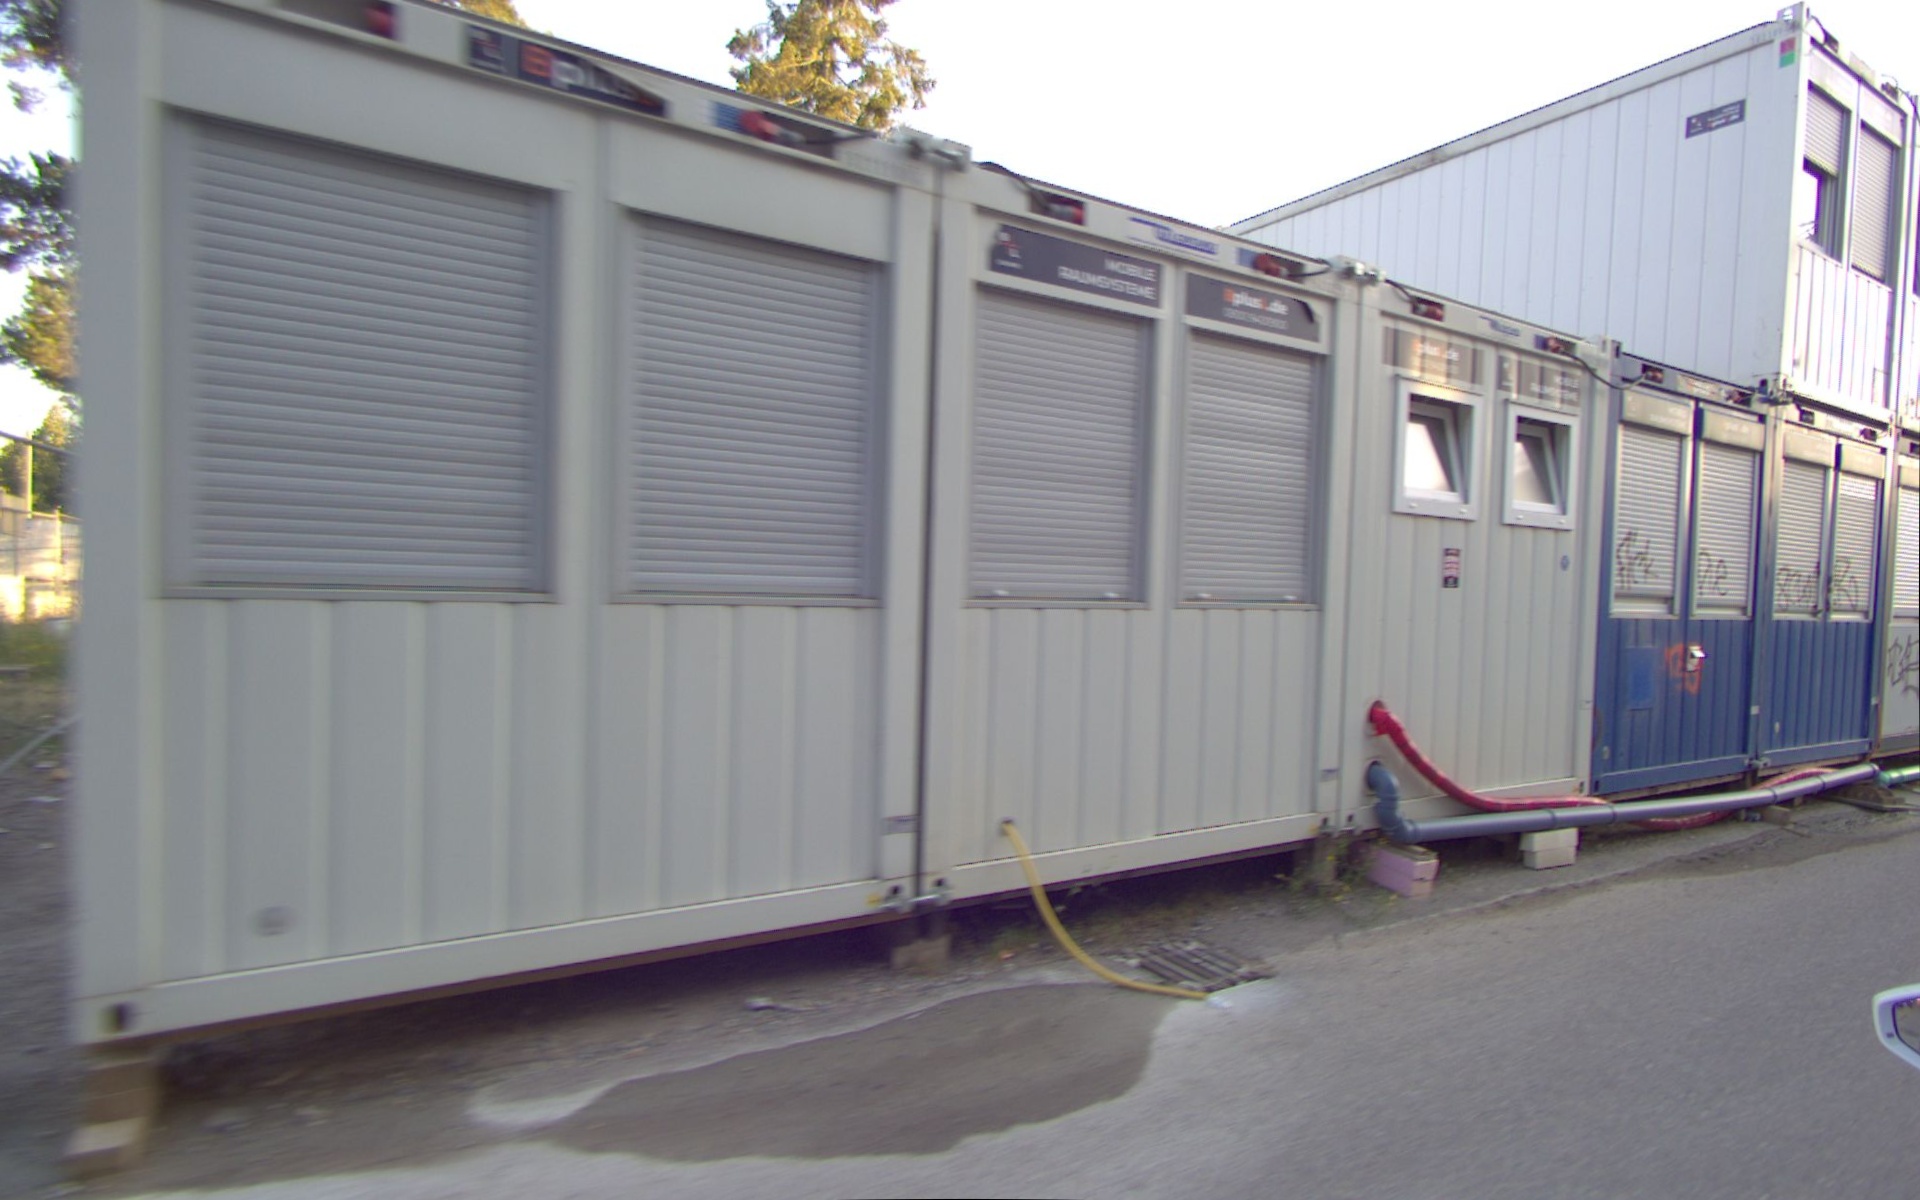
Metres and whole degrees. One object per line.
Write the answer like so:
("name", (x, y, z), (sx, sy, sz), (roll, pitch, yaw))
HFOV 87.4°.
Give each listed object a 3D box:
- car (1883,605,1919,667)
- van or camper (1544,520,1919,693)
("car", (27.578, 1.044, 26.368), (1.971, 1.670, 4.495), (1, 1, -21))
("van or camper", (17.112, 0.063, 20.650), (2.563, 3.090, 8.727), (1, 1, -28))
